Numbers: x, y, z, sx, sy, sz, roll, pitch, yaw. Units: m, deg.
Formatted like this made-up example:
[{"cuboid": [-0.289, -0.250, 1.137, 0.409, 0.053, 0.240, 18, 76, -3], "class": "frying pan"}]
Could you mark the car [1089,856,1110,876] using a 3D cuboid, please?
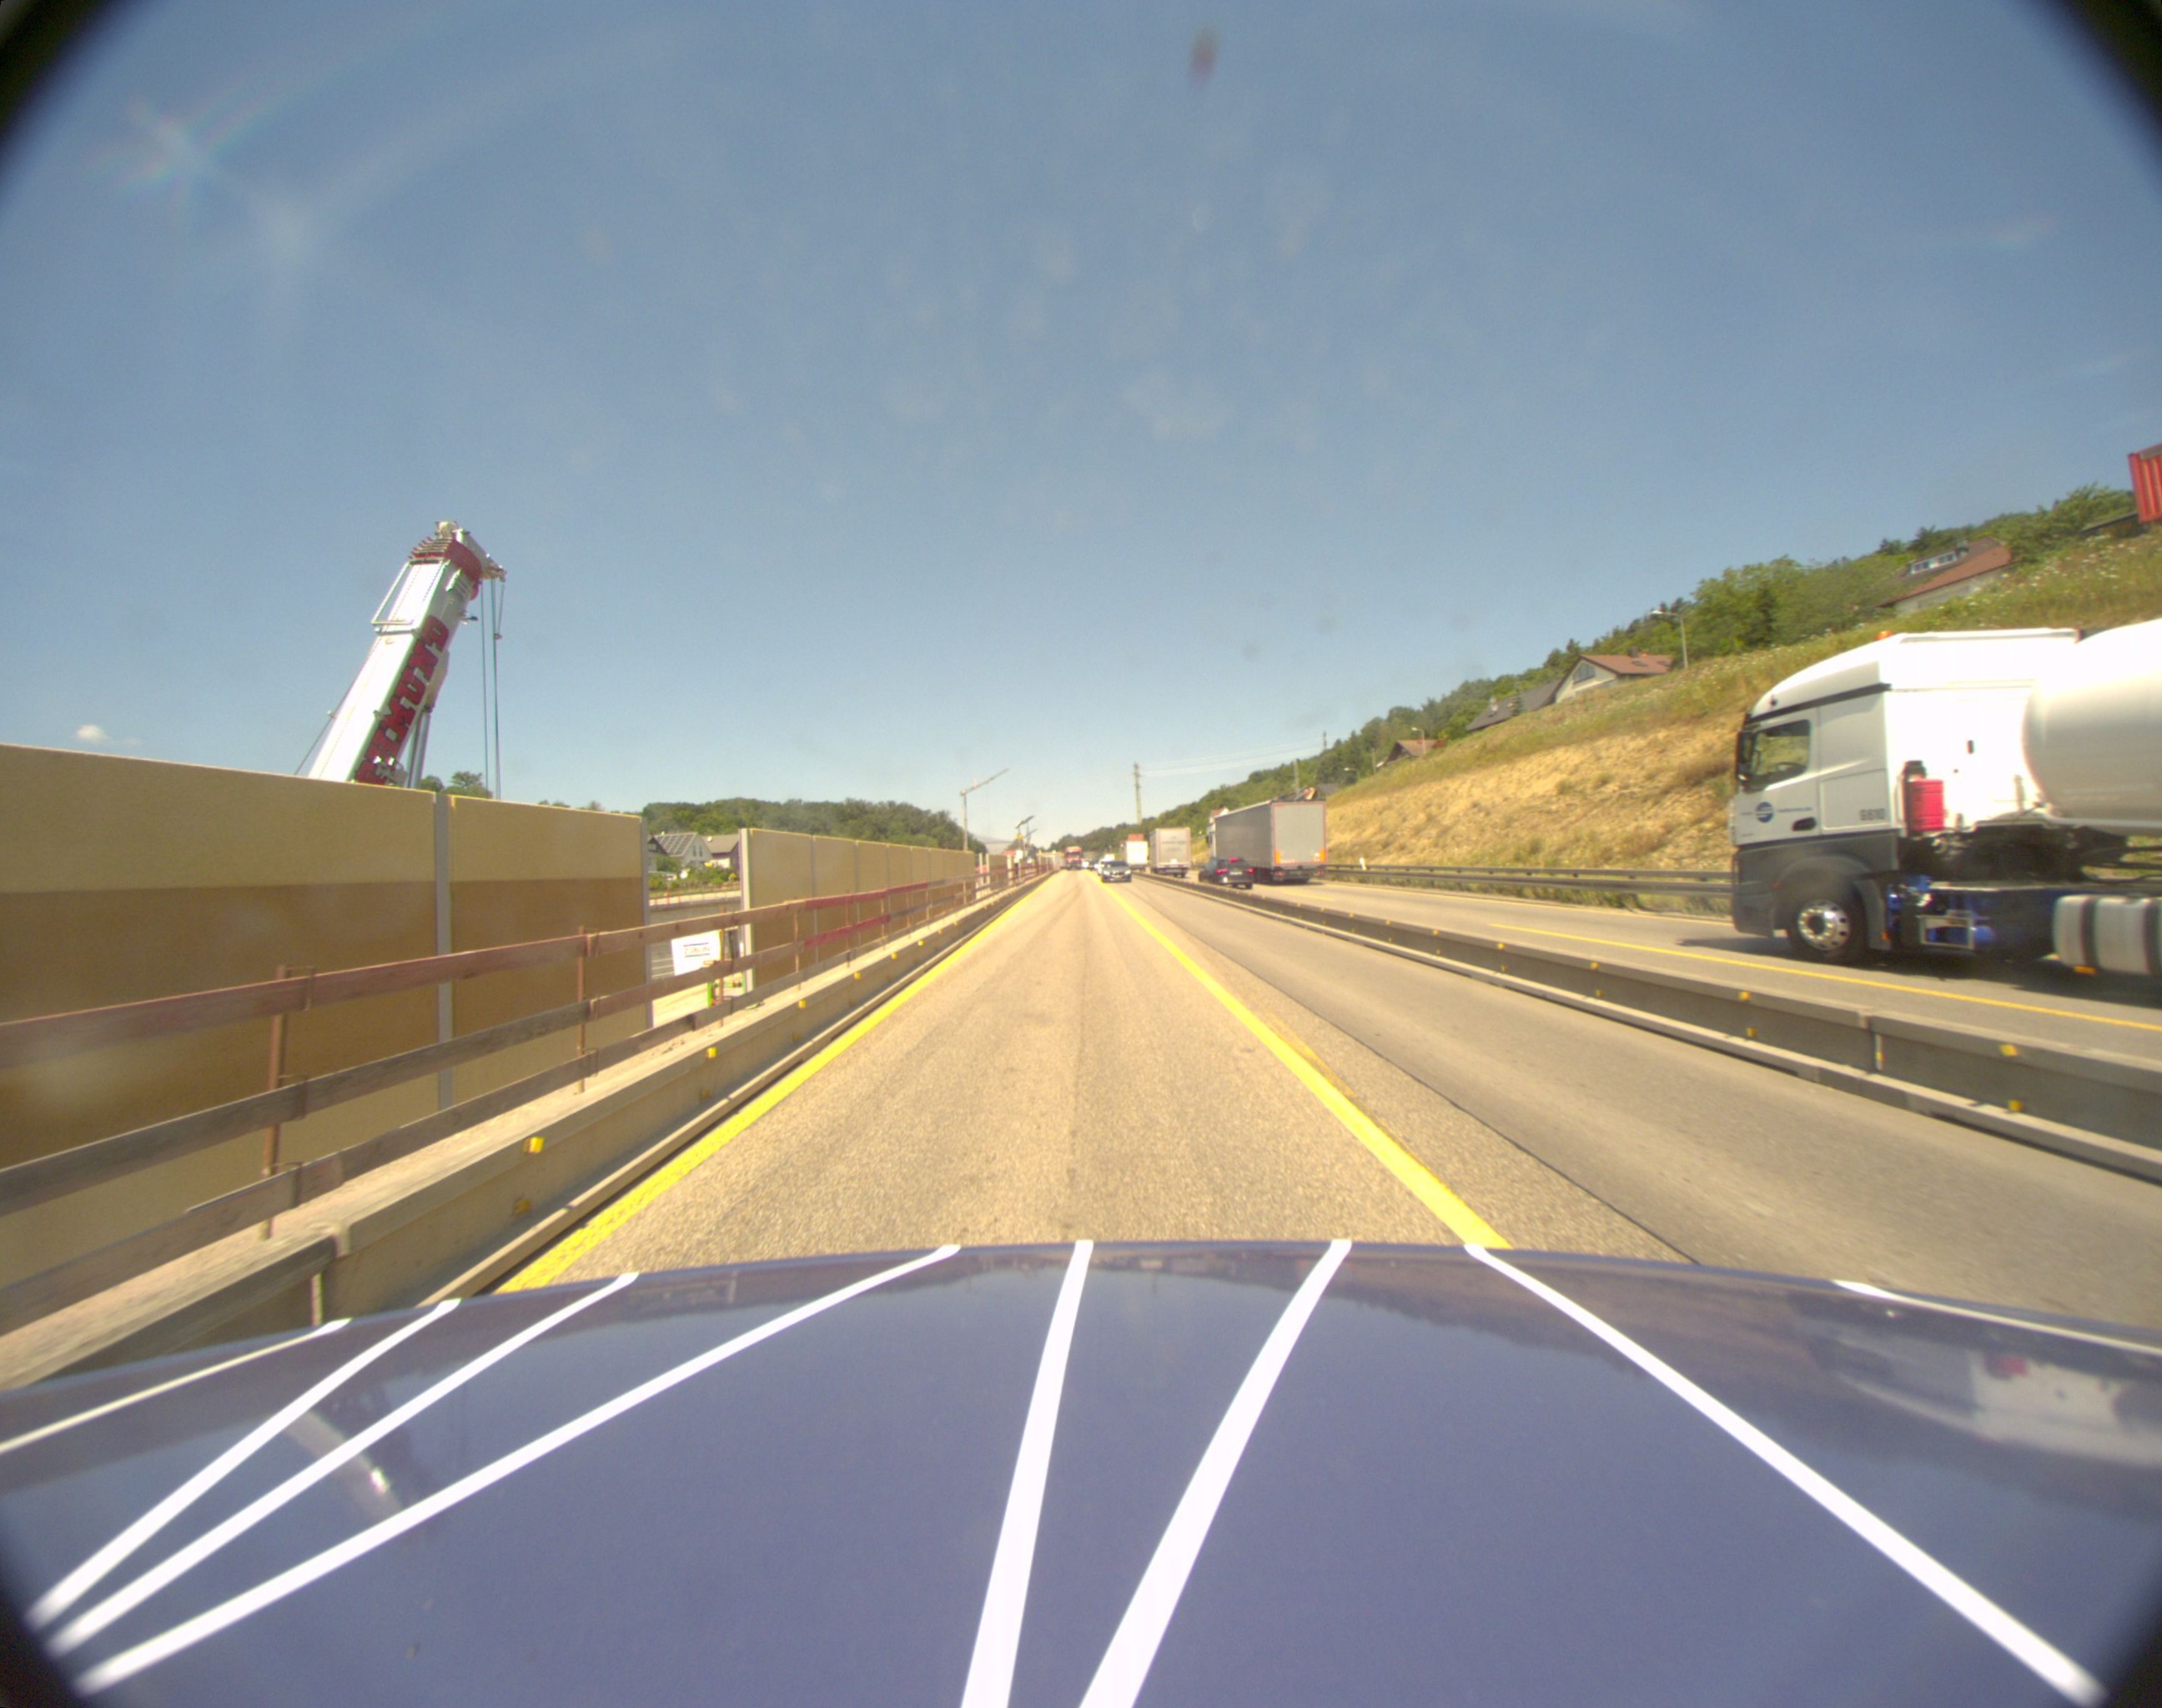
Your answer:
[{"cuboid": [1.692, 1.123, 70.435, 1.780, 1.682, 4.336, -2, -1, 0], "class": "car"}]

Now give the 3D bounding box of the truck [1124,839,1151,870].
[{"cuboid": [6.537, 0.064, 88.568, 2.544, 3.354, 7.038, -2, 0, 0], "class": "truck"}]

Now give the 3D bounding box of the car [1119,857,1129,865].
[{"cuboid": [8.825, 1.412, 155.743, 1.780, 1.485, 4.336, -2, -1, 0], "class": "car"}]

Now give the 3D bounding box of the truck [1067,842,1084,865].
[{"cuboid": [-0.946, -0.057, 132.499, 2.606, 3.703, 10.537, -2, -1, 0], "class": "truck"}]

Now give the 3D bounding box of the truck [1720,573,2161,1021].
[{"cuboid": [9.952, -0.511, 8.336, 2.597, 3.779, 3.767, -2, 0, 0], "class": "truck"}]

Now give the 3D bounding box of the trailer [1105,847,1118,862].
[{"cuboid": [9.275, 0.238, 233.260, 2.793, 4.157, 13.978, -2, 0, -1], "class": "trailer"}]

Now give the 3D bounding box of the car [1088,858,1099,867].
[{"cuboid": [2.086, 1.460, 126.352, 1.780, 1.485, 4.336, -2, -1, 0], "class": "car"}]

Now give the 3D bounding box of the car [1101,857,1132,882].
[{"cuboid": [2.218, 0.982, 48.512, 1.780, 1.447, 4.336, -2, -1, 0], "class": "car"}]

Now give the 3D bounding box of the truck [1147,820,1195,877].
[{"cuboid": [6.358, -0.331, 54.679, 2.596, 3.736, 7.359, -2, 0, 2], "class": "truck"}]

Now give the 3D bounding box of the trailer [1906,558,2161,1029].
[{"cuboid": [9.992, -0.539, 1.982, 2.597, 3.779, 11.917, -2, 0, 0], "class": "trailer"}]

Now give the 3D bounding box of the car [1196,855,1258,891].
[{"cuboid": [6.512, 0.798, 34.484, 1.784, 1.449, 4.719, -3, 0, -1], "class": "car"}]

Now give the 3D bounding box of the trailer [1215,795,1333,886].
[{"cuboid": [9.982, -0.584, 41.405, 2.705, 4.001, 13.701, -2, 0, -1], "class": "trailer"}]

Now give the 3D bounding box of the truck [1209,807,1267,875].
[{"cuboid": [9.910, -0.789, 48.338, 2.705, 4.026, 3.954, -2, 0, -1], "class": "truck"}]

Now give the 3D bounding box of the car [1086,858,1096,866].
[{"cuboid": [2.010, 1.692, 152.442, 1.780, 1.485, 4.336, -2, -1, 0], "class": "car"}]

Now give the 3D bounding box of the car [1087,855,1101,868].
[{"cuboid": [1.784, 1.098, 105.881, 1.780, 1.727, 4.336, -2, -1, 0], "class": "car"}]
